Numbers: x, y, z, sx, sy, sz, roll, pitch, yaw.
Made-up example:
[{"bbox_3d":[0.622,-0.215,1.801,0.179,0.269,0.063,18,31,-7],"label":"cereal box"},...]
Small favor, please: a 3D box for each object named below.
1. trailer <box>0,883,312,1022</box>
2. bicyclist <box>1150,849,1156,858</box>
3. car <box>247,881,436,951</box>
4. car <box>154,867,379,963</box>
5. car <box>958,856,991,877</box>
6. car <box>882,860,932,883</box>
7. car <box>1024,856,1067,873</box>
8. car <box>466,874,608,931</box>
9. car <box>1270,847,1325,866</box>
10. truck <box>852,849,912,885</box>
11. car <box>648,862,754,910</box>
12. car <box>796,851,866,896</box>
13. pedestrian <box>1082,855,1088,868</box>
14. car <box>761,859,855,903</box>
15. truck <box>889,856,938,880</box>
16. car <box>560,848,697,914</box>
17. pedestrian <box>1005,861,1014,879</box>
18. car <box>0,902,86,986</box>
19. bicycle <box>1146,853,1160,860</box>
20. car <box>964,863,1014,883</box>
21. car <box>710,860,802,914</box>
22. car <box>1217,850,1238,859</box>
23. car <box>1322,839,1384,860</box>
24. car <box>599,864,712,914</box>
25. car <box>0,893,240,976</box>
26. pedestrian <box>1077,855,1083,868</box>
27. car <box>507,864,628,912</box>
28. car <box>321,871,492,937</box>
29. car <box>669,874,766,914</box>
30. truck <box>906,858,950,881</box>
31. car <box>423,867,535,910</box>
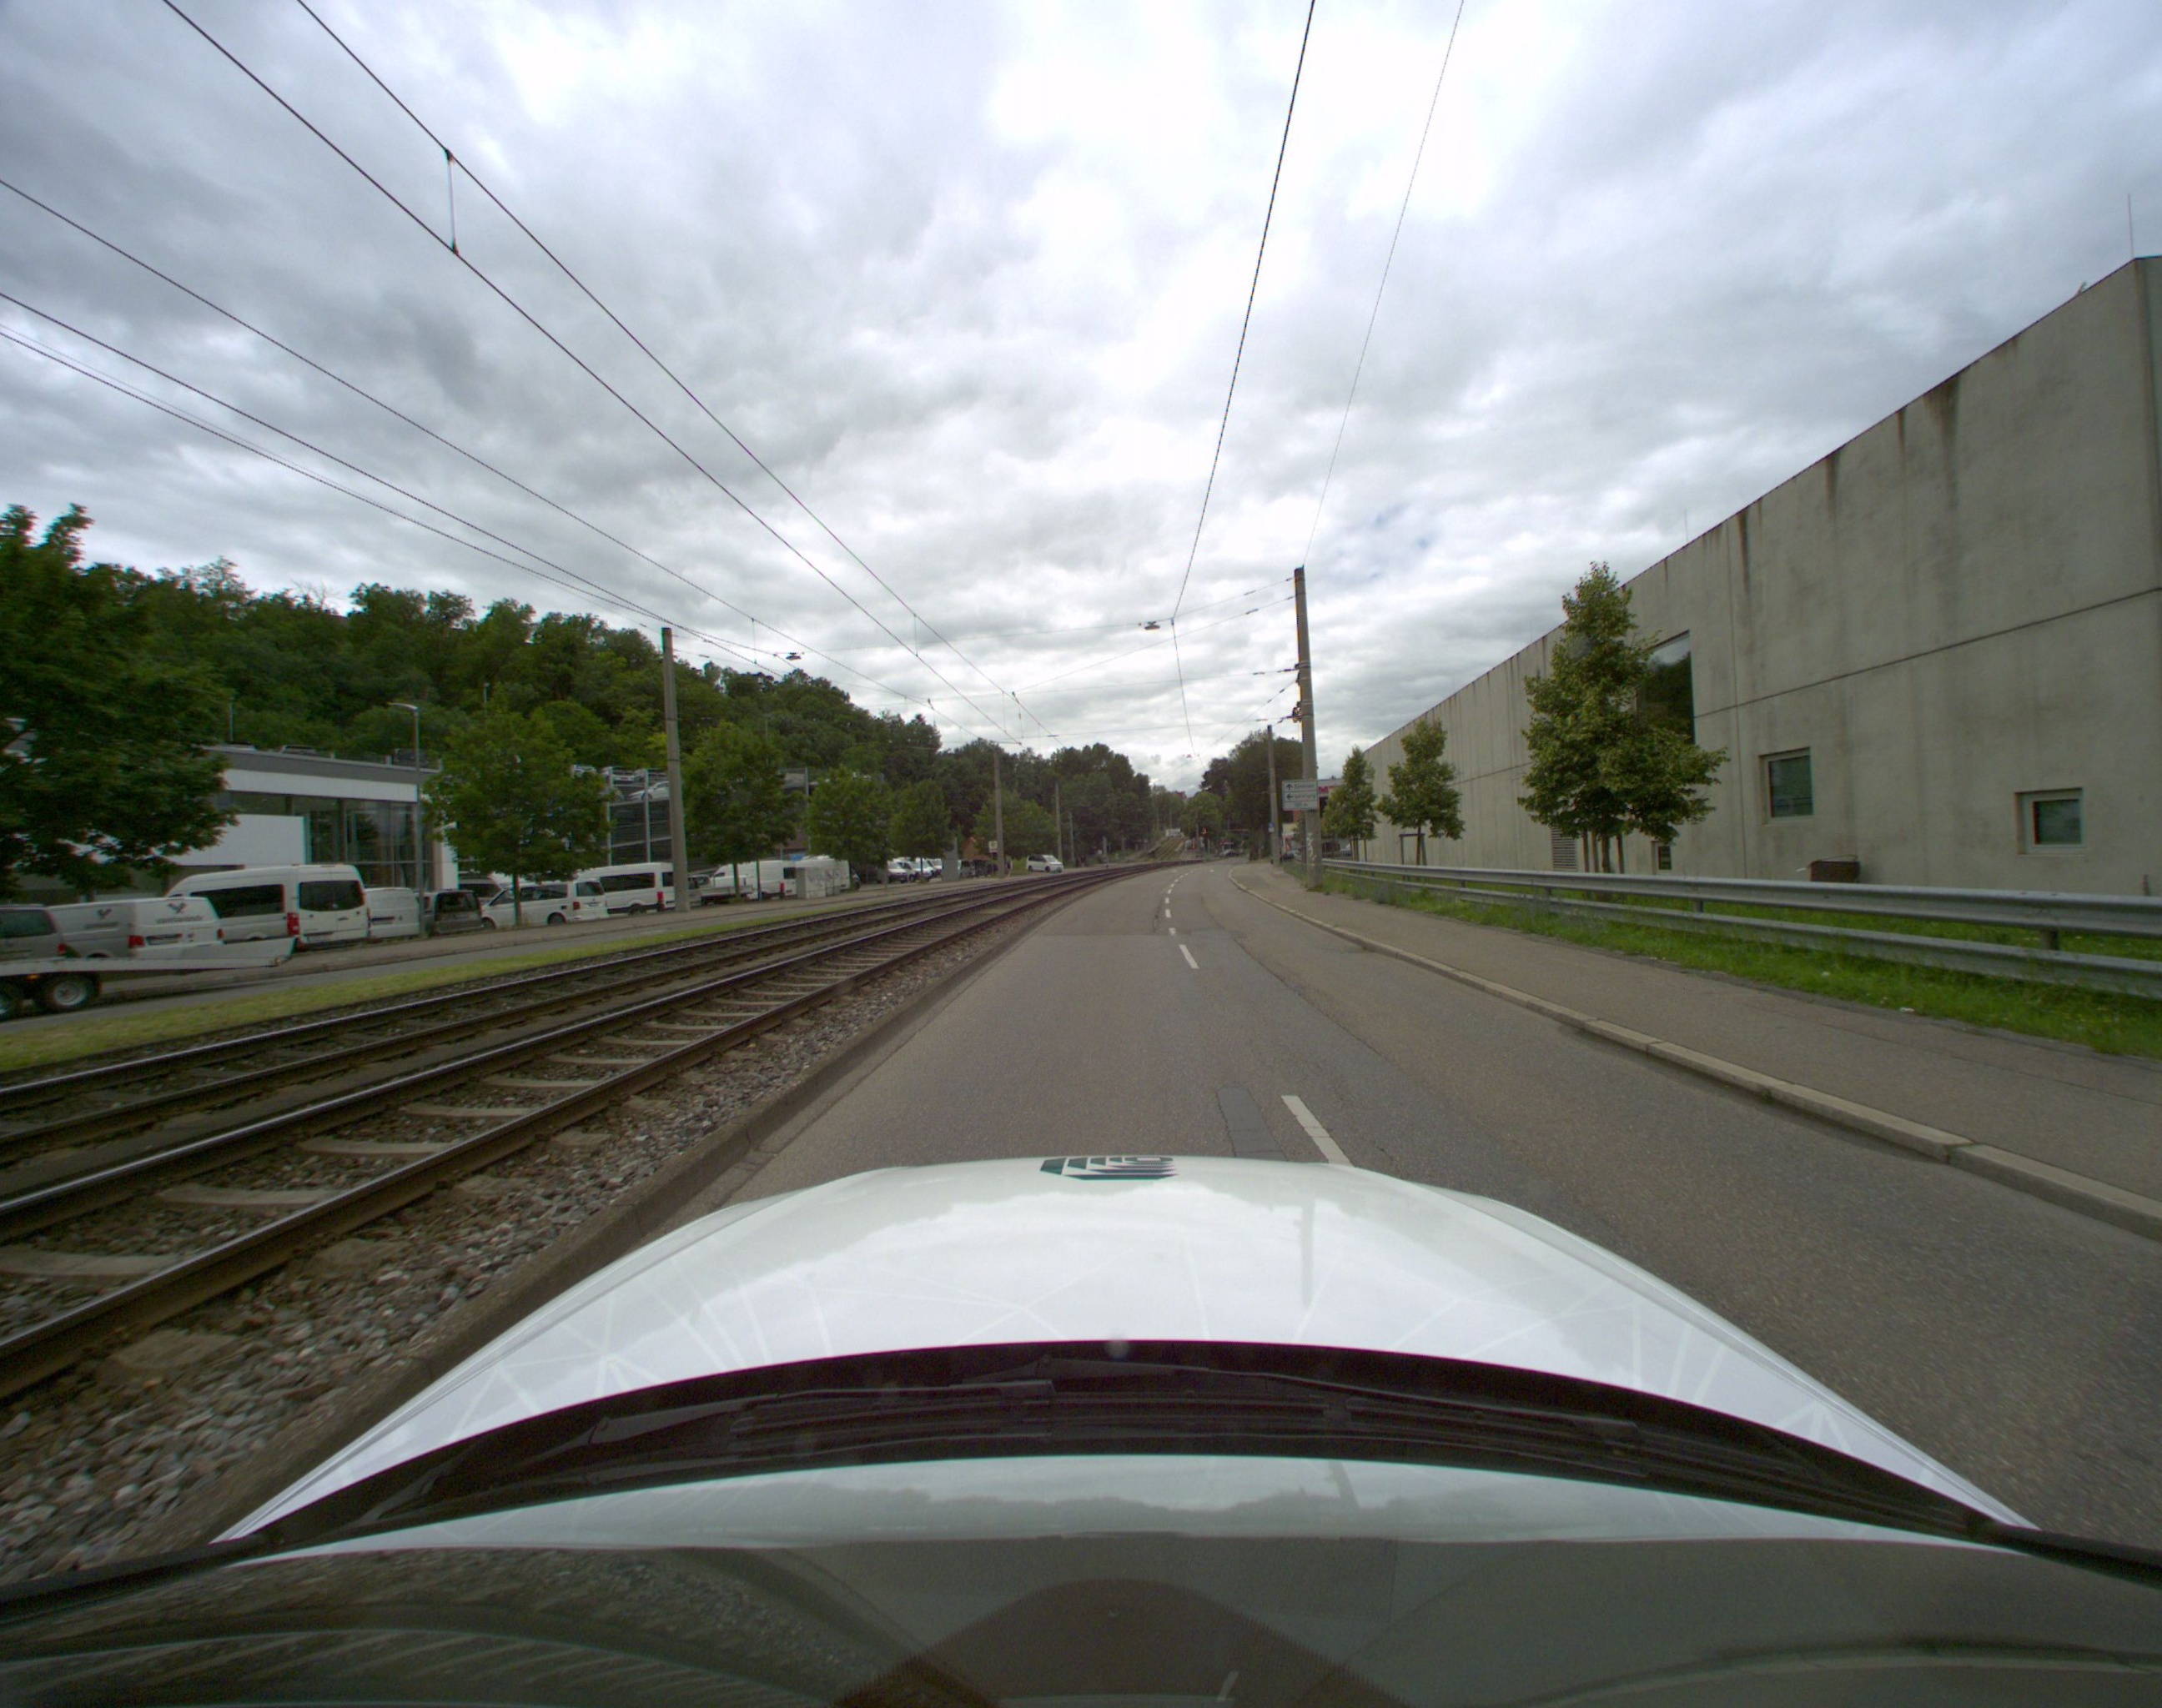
[{"bbox_3d":[-15.525,1.475,11.317,2.369,1.698,6.964,-4,0,8],"label":"trailer"},{"bbox_3d":[15.124,-0.015,171.443,1.040,1.849,0.827,-3,0,14],"label":"bicyclist"},{"bbox_3d":[-22.489,1.861,24.838,4.337,1.845,2.010,-2,0,11],"label":"car"},{"bbox_3d":[-22.166,1.629,22.253,4.467,2.311,2.132,-2,0,11],"label":"car"},{"bbox_3d":[-11.172,1.290,86.054,1.982,2.013,5.143,-3,0,9],"label":"car"},{"bbox_3d":[-16.310,1.631,76.292,4.669,2.013,2.013,-3,0,38],"label":"car"},{"bbox_3d":[-4.077,1.155,92.880,5.009,1.888,2.179,0,0,45],"label":"car"},{"bbox_3d":[-21.522,1.904,32.324,4.343,2.010,2.008,-2,0,6],"label":"car"},{"bbox_3d":[18.670,0.212,70.174,4.179,1.443,1.774,-2,0,39],"label":"car"},{"bbox_3d":[-18.235,1.198,74.313,5.862,3.085,2.133,-3,0,40],"label":"truck"},{"bbox_3d":[-19.257,1.601,41.378,4.343,2.173,2.008,-2,0,6],"label":"car"},{"bbox_3d":[-18.188,1.350,59.681,2.093,3.019,5.957,-3,0,13],"label":"car"},{"bbox_3d":[0.555,0.991,110.606,0.671,1.813,0.859,-1,0,13],"label":"pedestrian"},{"bbox_3d":[-18.188,1.786,54.355,5.438,2.602,2.253,-2,0,10],"label":"car"},{"bbox_3d":[-20.244,1.685,98.221,5.703,2.588,2.485,-3,0,35],"label":"truck"},{"bbox_3d":[-20.152,1.166,36.404,4.940,2.698,2.119,-2,0,6],"label":"car"},{"bbox_3d":[-6.670,1.481,75.872,0.715,1.655,1.043,0,0,3],"label":"pedestrian"},{"bbox_3d":[-24.109,1.966,17.228,4.337,1.618,2.010,-2,0,11],"label":"car"},{"bbox_3d":[15.164,0.506,171.432,2.965,1.343,0.830,-3,0,14],"label":"bicycle"},{"bbox_3d":[-10.213,2.085,90.680,5.083,2.013,2.148,-3,0,-27],"label":"car"},{"bbox_3d":[-18.531,1.863,46.544,4.343,2.819,2.008,-2,0,6],"label":"car"},{"bbox_3d":[28.802,0.069,159.876,4.280,1.532,1.671,-2,-4,-43],"label":"car"},{"bbox_3d":[23.132,-0.372,69.336,4.513,1.548,2.150,-3,-1,-15],"label":"car"},{"bbox_3d":[-20.496,1.658,39.300,4.343,2.173,2.008,-2,0,6],"label":"car"},{"bbox_3d":[-23.315,1.904,19.581,4.342,1.688,2.035,-2,0,7],"label":"car"},{"bbox_3d":[-0.155,1.058,110.770,0.623,1.713,0.859,-1,0,13],"label":"pedestrian"},{"bbox_3d":[-31.730,2.059,50.579,5.952,2.602,1.991,-2,0,-19],"label":"car"},{"bbox_3d":[-22.389,1.646,27.095,4.337,1.947,2.010,-2,0,11],"label":"car"},{"bbox_3d":[-19.728,2.172,44.316,4.343,1.910,2.008,-2,0,6],"label":"car"},{"bbox_3d":[-18.950,1.962,100.900,5.006,2.588,2.485,-3,0,35],"label":"truck"},{"bbox_3d":[-31.960,1.837,43.275,4.810,2.013,2.007,-2,0,12],"label":"car"}]
